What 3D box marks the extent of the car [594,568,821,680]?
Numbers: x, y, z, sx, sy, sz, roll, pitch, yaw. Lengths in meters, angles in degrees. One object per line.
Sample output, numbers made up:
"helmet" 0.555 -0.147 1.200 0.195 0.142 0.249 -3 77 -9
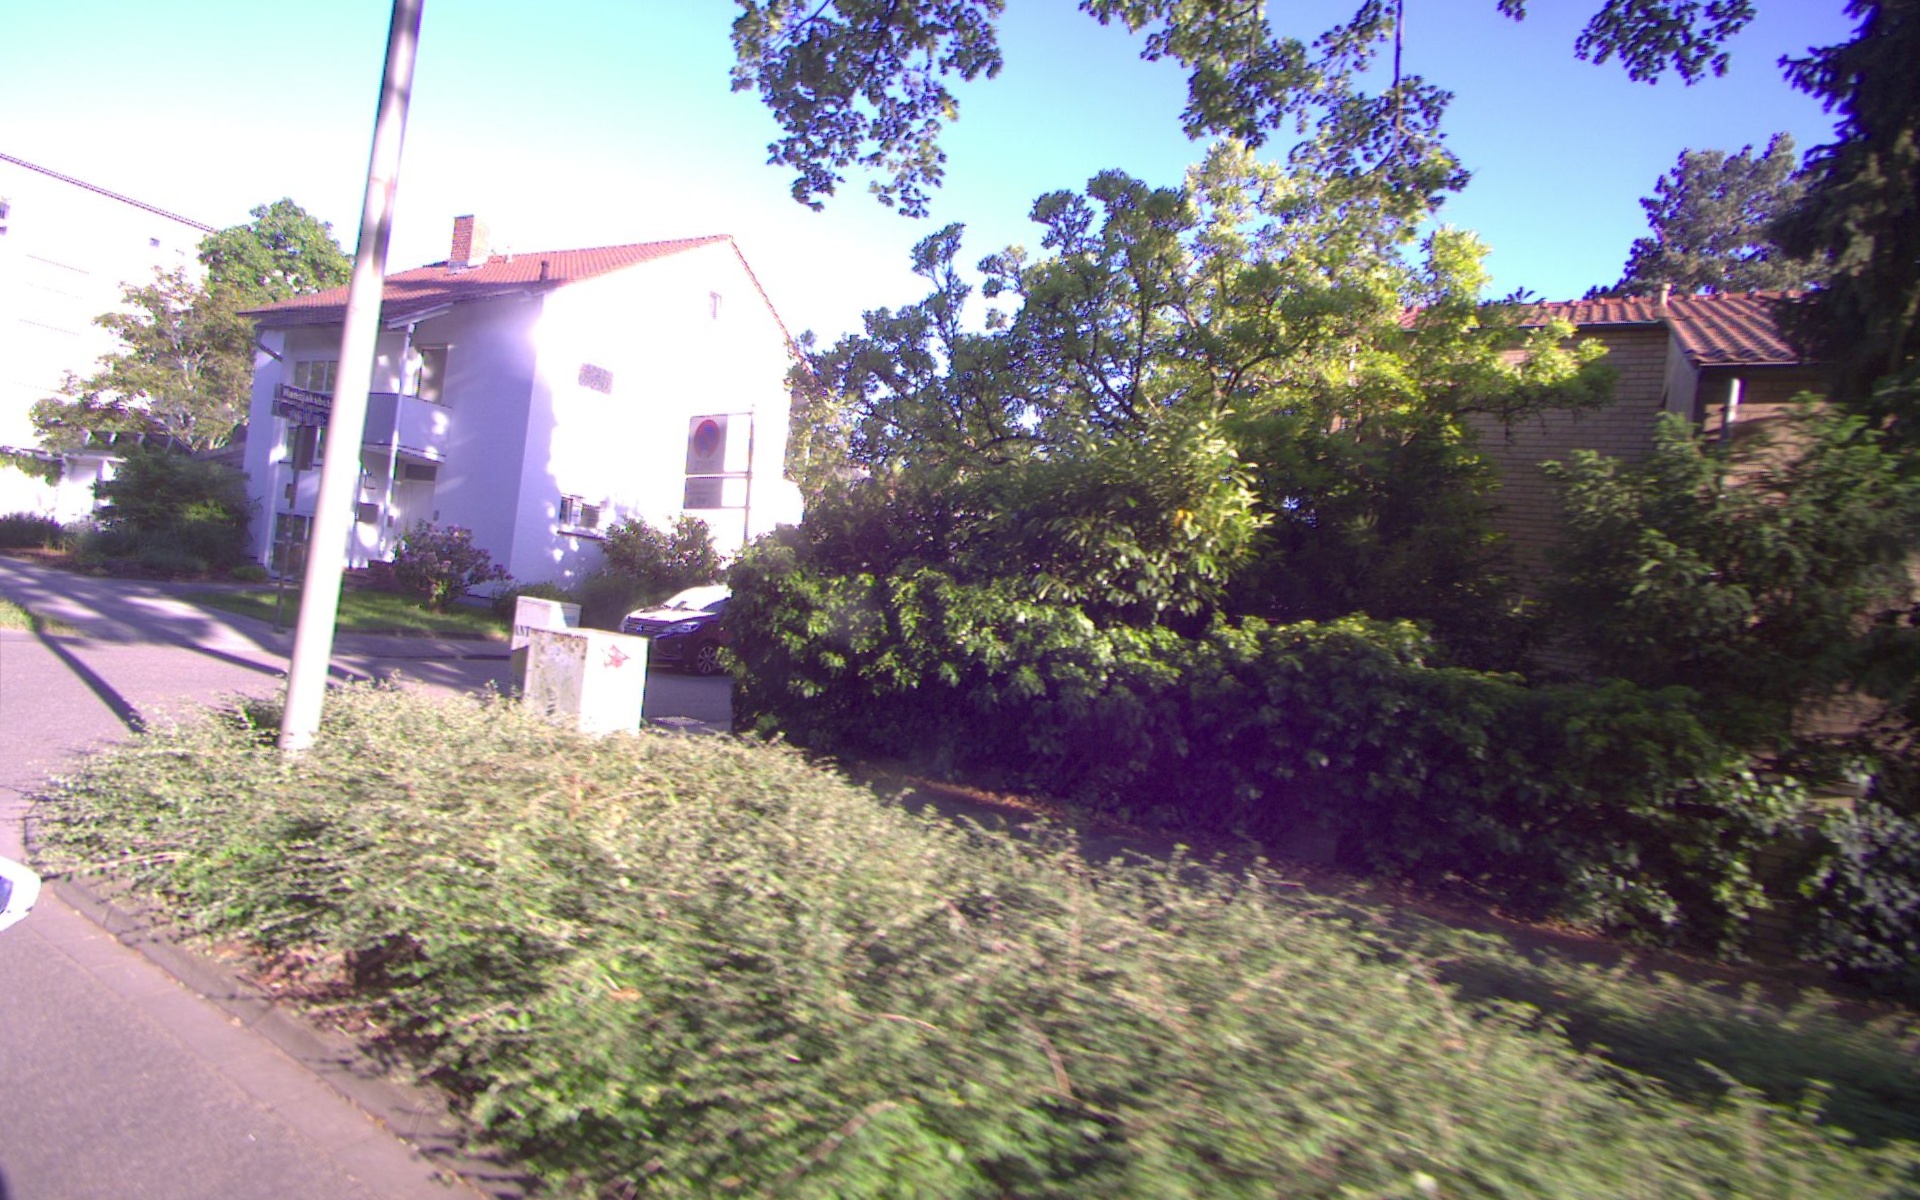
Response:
"car" -4.236 0.492 17.496 1.661 1.519 3.742 8 -1 26
